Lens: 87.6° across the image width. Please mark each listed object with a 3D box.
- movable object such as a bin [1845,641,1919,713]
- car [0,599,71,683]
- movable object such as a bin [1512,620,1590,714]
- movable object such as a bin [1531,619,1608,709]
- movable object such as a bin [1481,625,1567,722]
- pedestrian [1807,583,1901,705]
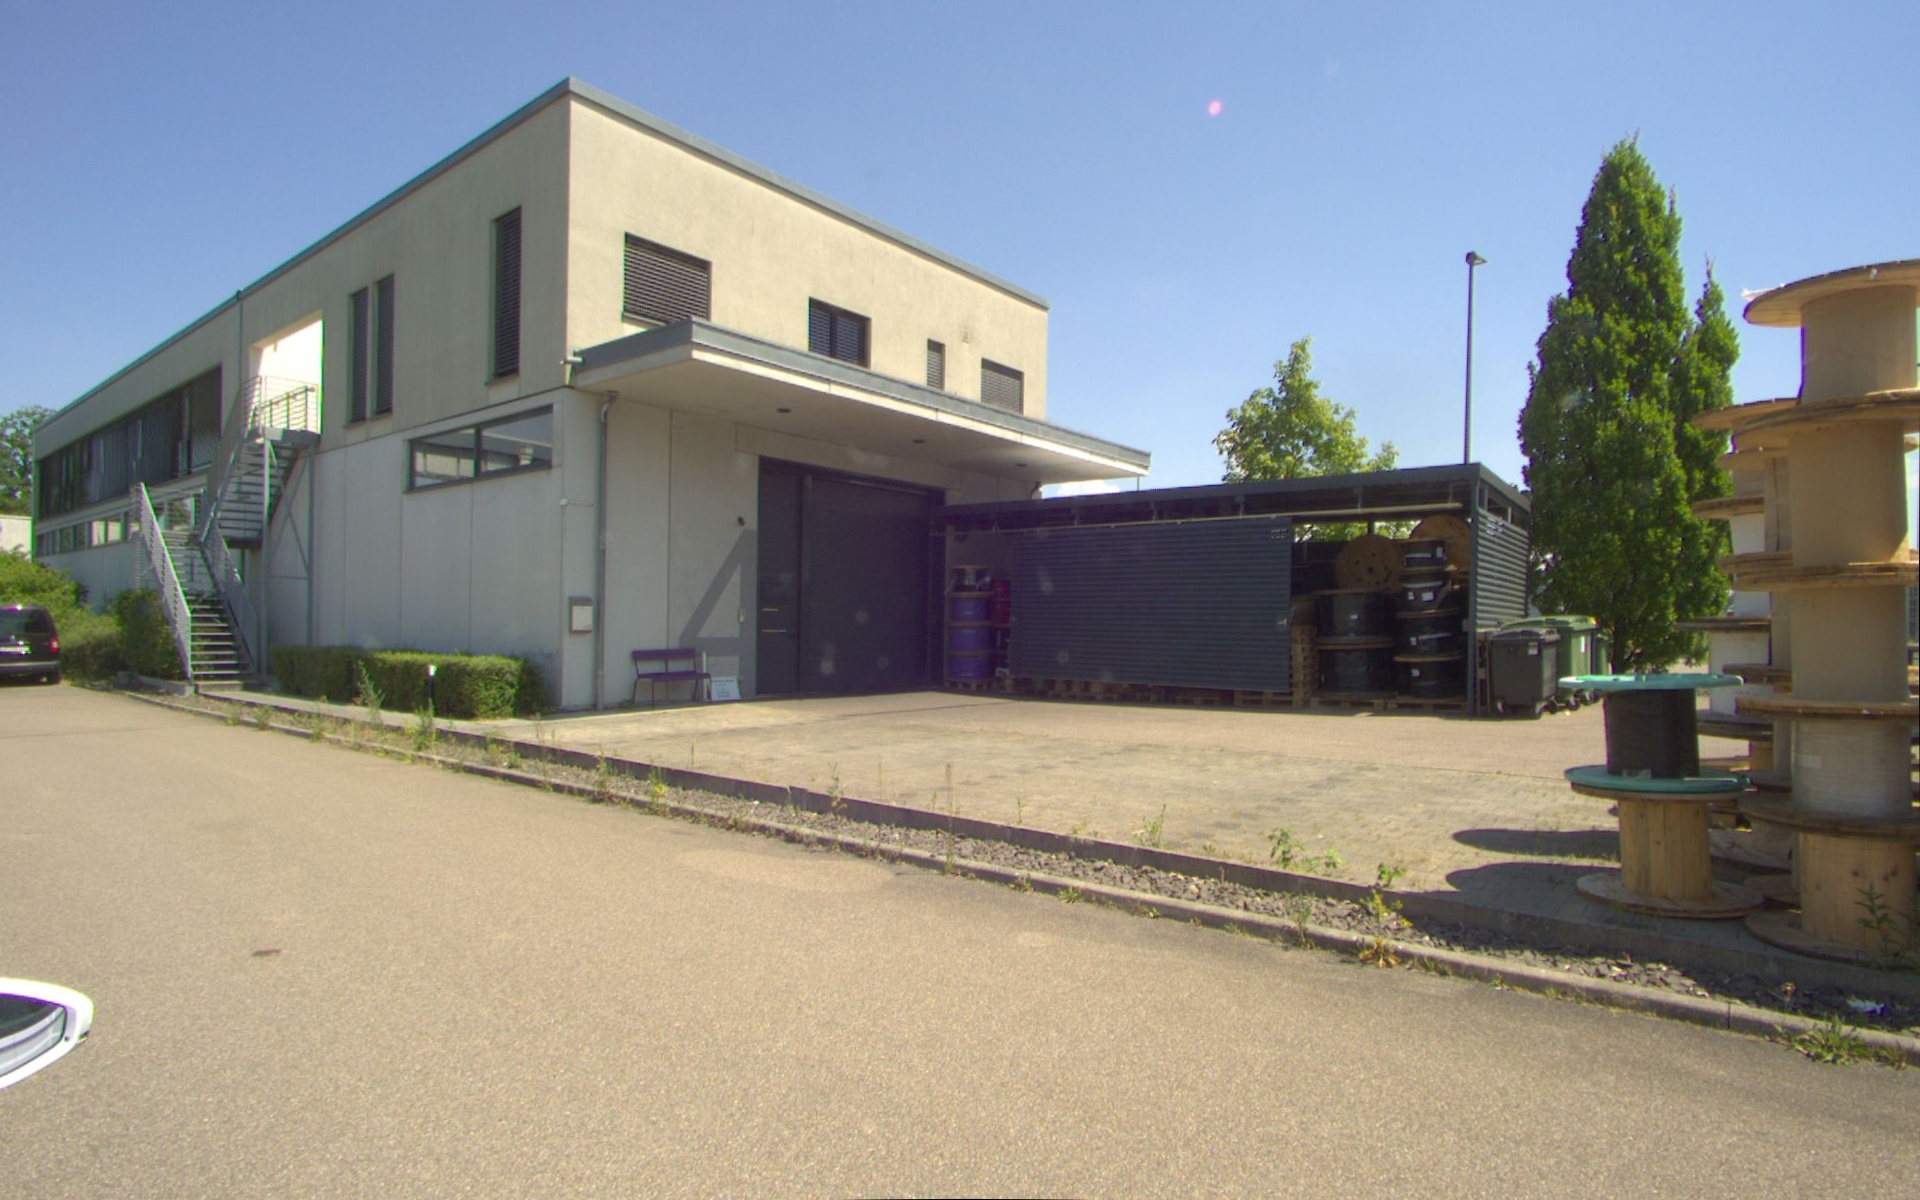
[{"bbox_3d":[12.491,1.033,13.556,0.537,0.929,0.585,-1,-1,15],"label":"movable object such as a bin"},{"bbox_3d":[-22.592,0.926,23.697,3.951,1.861,1.736,0,0,39],"label":"car"},{"bbox_3d":[8.663,0.959,14.688,0.748,1.315,0.794,0,-1,-43],"label":"movable object such as a bin"},{"bbox_3d":[9.293,0.954,15.264,0.802,1.315,0.794,0,-1,-43],"label":"movable object such as a bin"},{"bbox_3d":[7.768,0.993,13.784,0.867,1.266,0.794,0,-1,-43],"label":"movable object such as a bin"},{"bbox_3d":[13.487,0.646,15.115,0.756,1.792,0.807,-1,0,-20],"label":"pedestrian"}]
